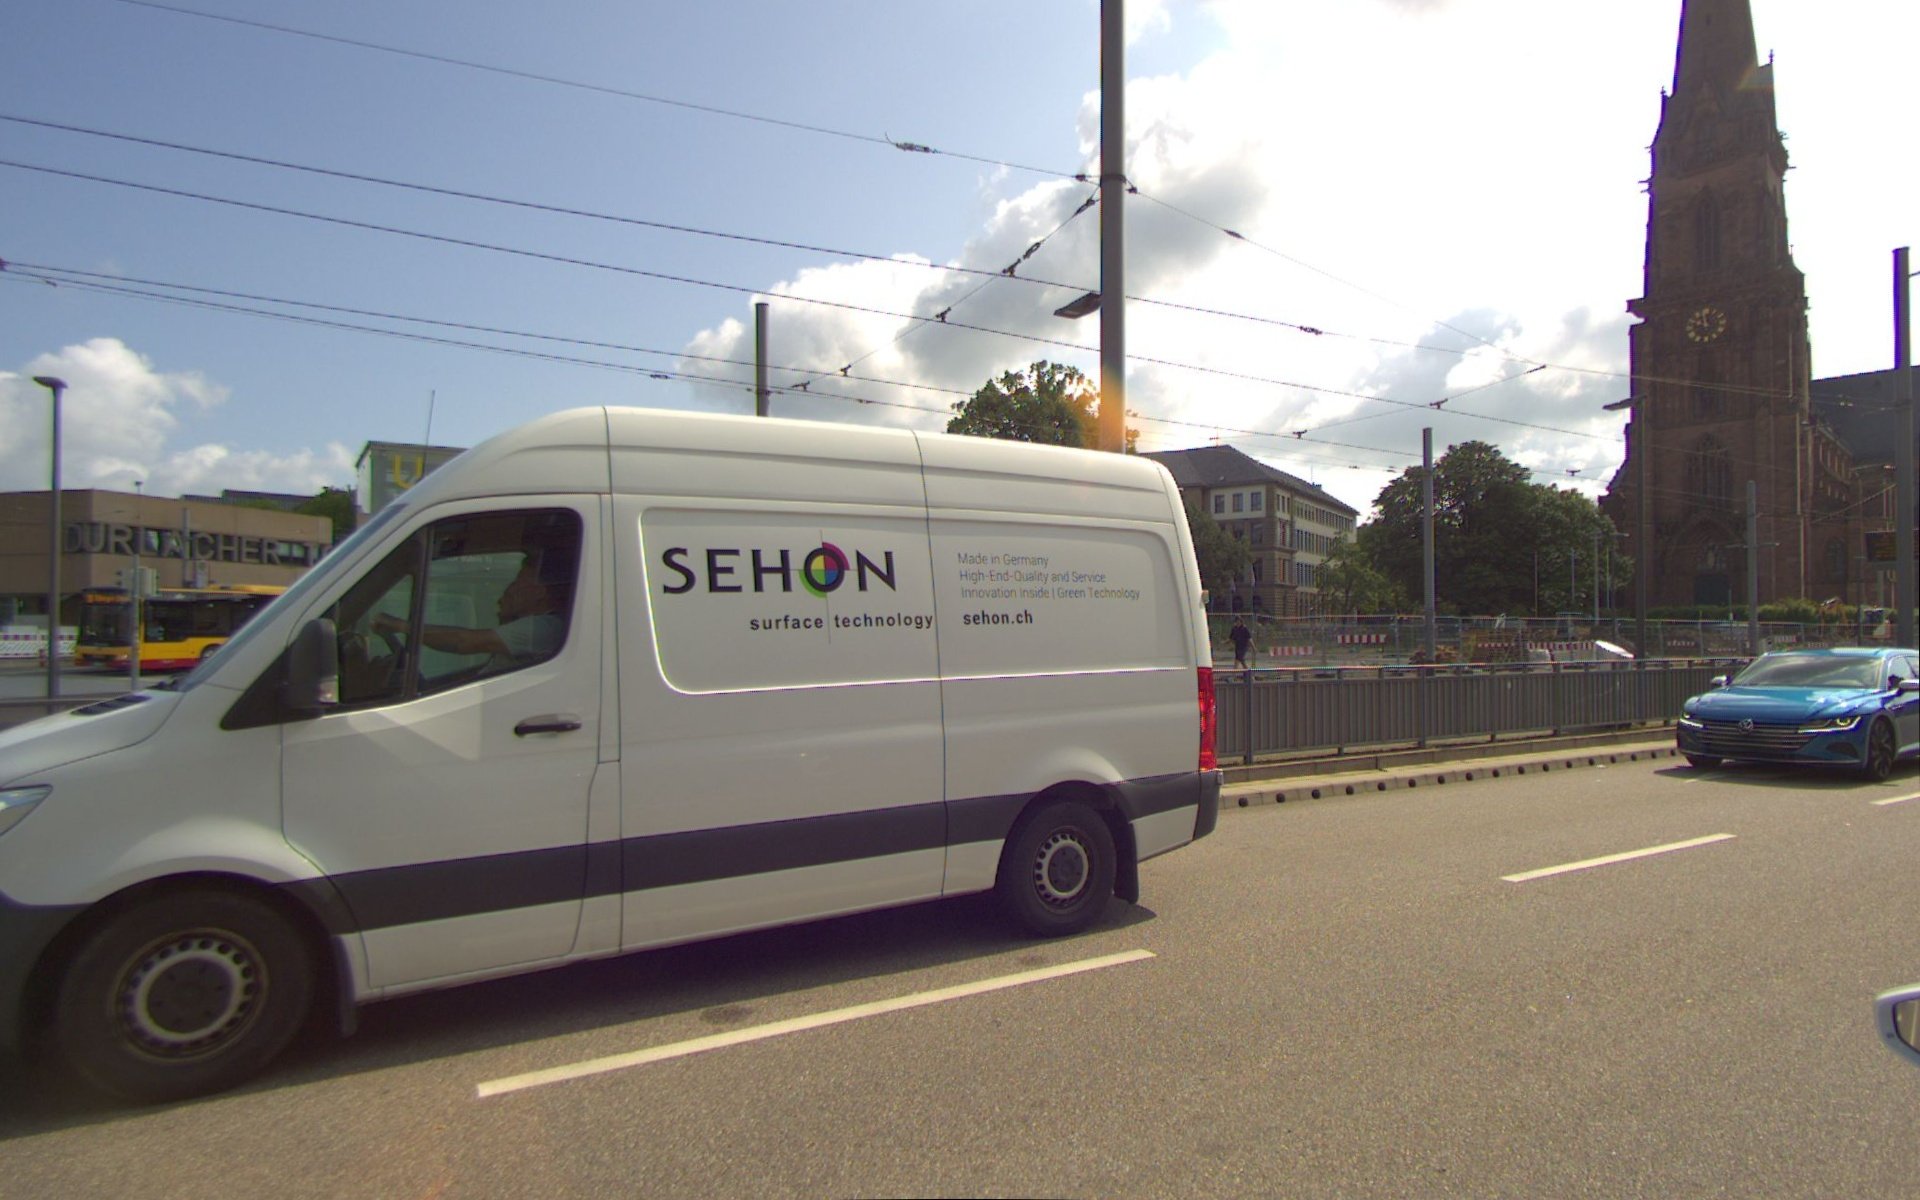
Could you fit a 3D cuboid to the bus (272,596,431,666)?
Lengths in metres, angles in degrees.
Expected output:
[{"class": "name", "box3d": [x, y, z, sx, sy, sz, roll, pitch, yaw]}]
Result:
[{"class": "bus", "box3d": [-24.318, 1.236, 40.437, 2.647, 2.621, 5.081, 0, -2, 13]}]

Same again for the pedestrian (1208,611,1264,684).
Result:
[{"class": "pedestrian", "box3d": [7.242, 1.226, 26.418, 1.032, 1.824, 0.995, -1, 1, -24]}]

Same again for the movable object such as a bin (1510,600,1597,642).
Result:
[{"class": "movable object such as a bin", "box3d": [40.957, 1.471, 69.452, 1.976, 2.839, 4.882, 1, -2, -29]}]

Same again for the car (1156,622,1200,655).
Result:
[{"class": "car", "box3d": [15.307, 2.722, 70.311, 1.963, 2.039, 3.997, 2, -3, 27]}]

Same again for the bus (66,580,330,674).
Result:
[{"class": "bus", "box3d": [-25.763, 0.941, 34.490, 2.646, 2.871, 7.105, 0, -2, 14]}]

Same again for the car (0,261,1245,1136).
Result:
[{"class": "car", "box3d": [-1.231, 0.397, 5.232, 5.516, 2.656, 1.984, 2, -3, -31]}]

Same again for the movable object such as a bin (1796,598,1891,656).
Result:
[{"class": "movable object such as a bin", "box3d": [59.219, 1.826, 67.365, 5.513, 3.780, 2.660, 1, -1, -23]}]

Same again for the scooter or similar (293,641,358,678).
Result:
[{"class": "scooter or similar", "box3d": [-16.931, 1.580, 26.815, 1.630, 0.962, 0.474, 0, -1, 15]}]

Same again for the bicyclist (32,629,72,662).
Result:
[{"class": "bicyclist", "box3d": [-34.088, 1.716, 37.714, 0.683, 1.167, 0.739, 4, -4, 12]}]

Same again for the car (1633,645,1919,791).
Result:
[{"class": "car", "box3d": [10.423, 1.301, 12.254, 4.500, 1.474, 1.842, 1, -3, -30]}]

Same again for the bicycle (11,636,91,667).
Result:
[{"class": "bicycle", "box3d": [-34.095, 1.950, 37.720, 0.796, 1.005, 2.072, 4, -4, 12]}]

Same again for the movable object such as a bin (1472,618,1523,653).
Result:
[{"class": "movable object such as a bin", "box3d": [35.290, 2.310, 65.906, 1.972, 2.235, 4.249, -1, -2, 42]}]
